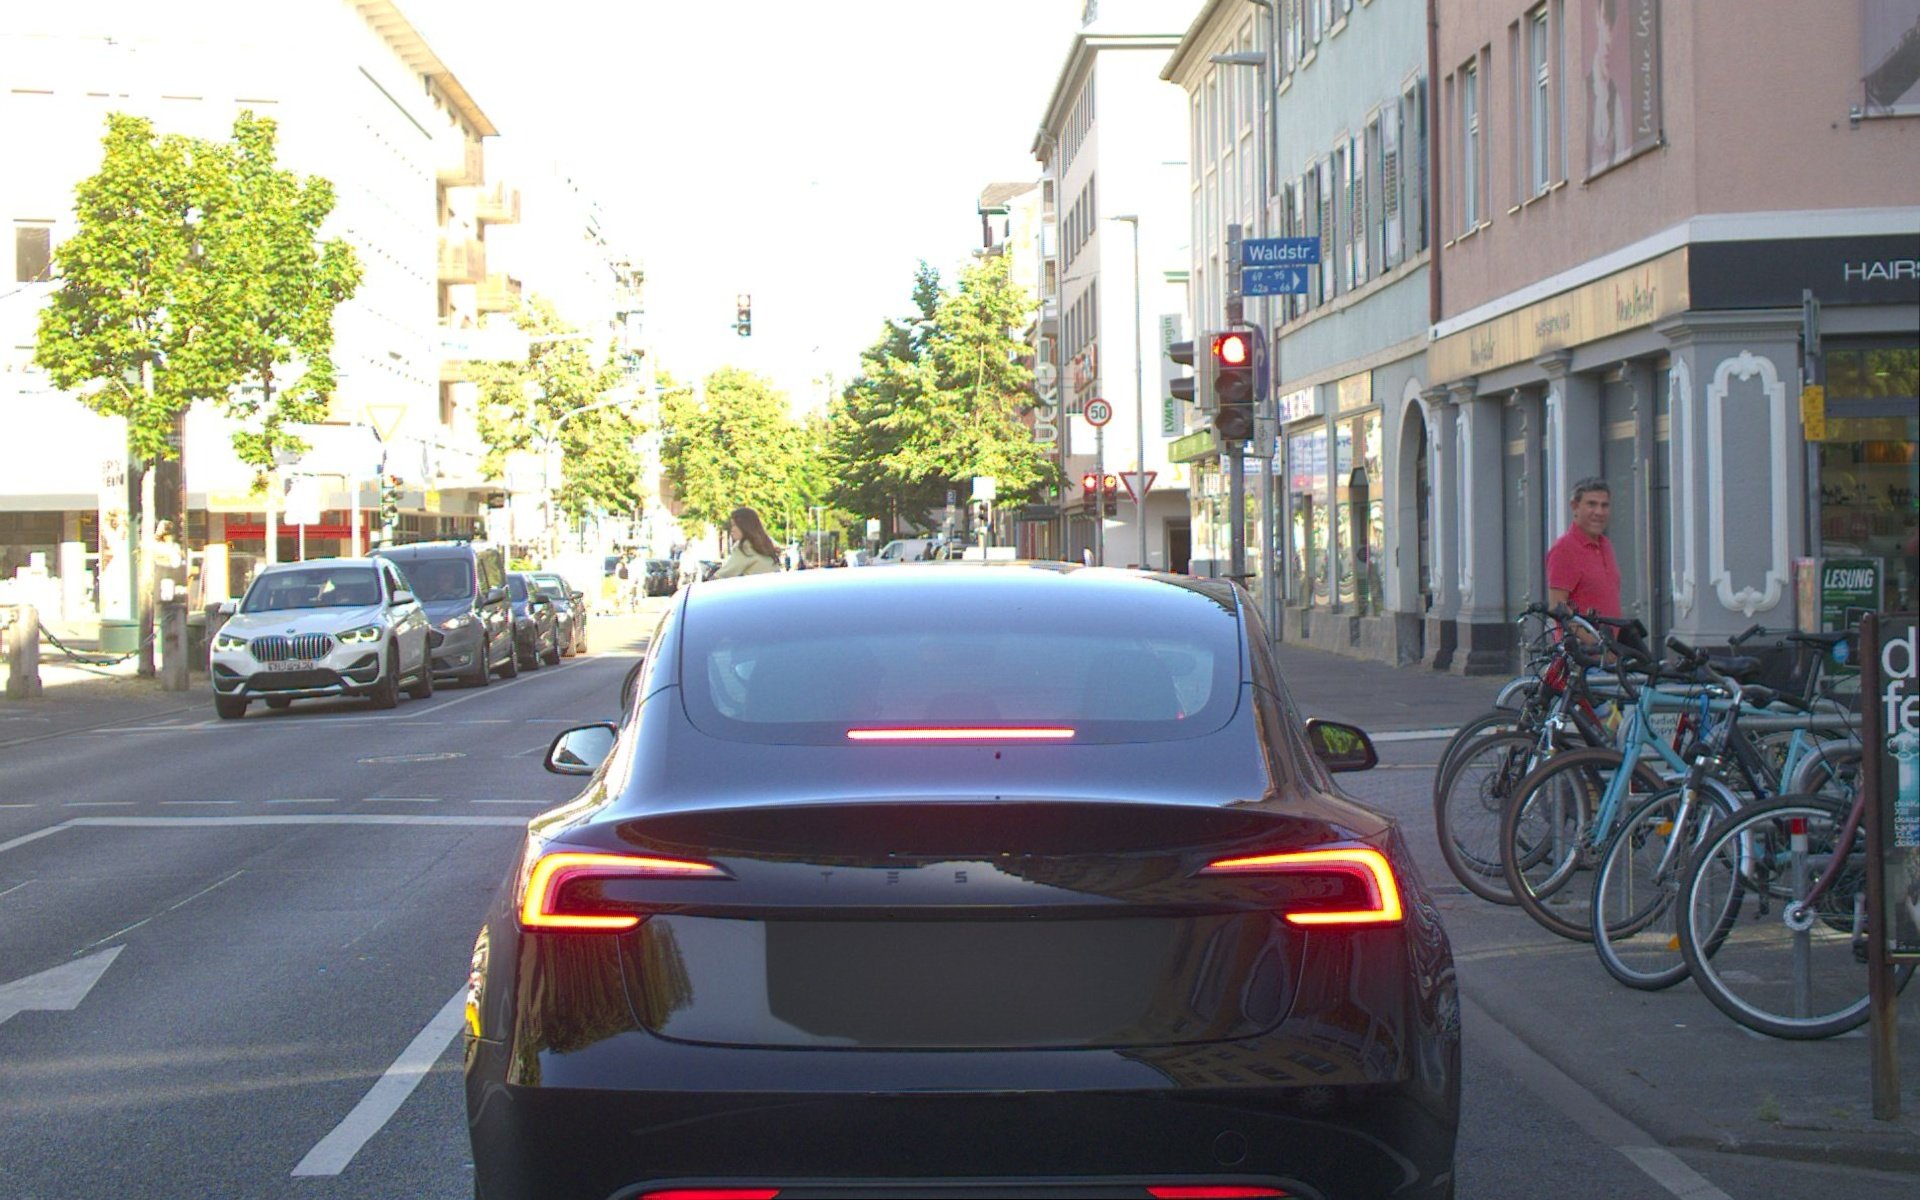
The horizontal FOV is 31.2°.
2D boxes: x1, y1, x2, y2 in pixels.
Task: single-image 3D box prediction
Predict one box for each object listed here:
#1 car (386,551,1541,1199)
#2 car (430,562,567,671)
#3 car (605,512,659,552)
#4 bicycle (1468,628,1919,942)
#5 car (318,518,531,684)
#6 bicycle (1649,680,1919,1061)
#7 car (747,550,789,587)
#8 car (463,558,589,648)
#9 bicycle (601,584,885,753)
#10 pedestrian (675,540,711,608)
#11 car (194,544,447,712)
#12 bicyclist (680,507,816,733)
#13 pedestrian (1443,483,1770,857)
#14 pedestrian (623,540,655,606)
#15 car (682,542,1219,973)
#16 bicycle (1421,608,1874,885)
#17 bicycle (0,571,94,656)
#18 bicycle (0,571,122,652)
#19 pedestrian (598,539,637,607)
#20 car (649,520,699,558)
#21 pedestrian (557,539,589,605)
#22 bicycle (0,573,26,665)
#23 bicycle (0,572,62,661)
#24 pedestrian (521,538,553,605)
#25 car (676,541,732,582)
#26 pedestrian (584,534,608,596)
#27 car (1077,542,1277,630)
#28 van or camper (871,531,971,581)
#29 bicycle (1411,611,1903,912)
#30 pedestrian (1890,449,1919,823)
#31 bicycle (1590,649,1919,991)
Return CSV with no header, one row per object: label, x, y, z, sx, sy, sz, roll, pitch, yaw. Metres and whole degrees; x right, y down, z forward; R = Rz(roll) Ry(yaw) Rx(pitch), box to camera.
car,-0.021,0.632,7.774,1.850,1.442,4.452,1,1,-1
car,-6.649,0.209,49.798,1.461,1.425,3.606,-4,1,-1
car,-17.113,-3.533,179.643,2.275,2.007,4.717,1,1,1
bicycle,2.803,0.660,12.529,1.813,1.098,0.653,0,1,1
car,-6.568,-0.031,42.664,1.945,1.940,4.820,0,1,-1
bicycle,3.029,0.763,10.051,1.882,1.040,0.653,-1,1,1
car,-10.430,-1.738,187.135,2.132,1.963,4.134,0,1,-1
car,-7.125,0.025,56.748,1.693,1.385,3.916,-2,0,-2
bicycle,-1.580,0.495,25.156,1.954,1.154,0.575,-2,0,9
pedestrian,-7.431,-0.732,95.580,0.774,1.861,1.009,1,0,-18
car,-6.683,0.259,36.341,1.825,1.559,4.301,-4,1,-1
bicyclist,-1.547,0.138,25.136,0.826,1.609,0.579,-2,1,9
pedestrian,3.104,0.312,16.523,1.059,1.714,1.113,0,1,-43
pedestrian,-9.113,-0.775,97.495,0.694,1.861,0.910,1,0,-18
car,-0.057,0.528,14.199,1.850,1.476,4.452,1,1,-1
bicycle,2.925,0.616,14.737,1.813,1.148,0.653,0,1,1
bicycle,-14.529,0.194,52.142,2.542,1.247,0.943,1,0,-3
bicycle,-14.690,0.167,54.566,2.542,1.247,0.943,1,0,-3
pedestrian,-9.407,-0.749,94.472,0.734,1.861,0.789,1,0,28
car,-15.636,-3.352,188.282,2.275,2.007,4.717,1,1,1
pedestrian,-10.934,-0.796,97.106,0.732,1.861,0.791,1,0,-17
bicycle,-14.482,0.239,47.548,2.875,1.266,0.943,1,0,-3
bicycle,-14.484,0.222,49.866,2.662,1.255,0.943,1,0,-3
pedestrian,-11.950,-0.811,97.100,0.732,1.861,0.791,1,0,-17
car,-12.383,-1.866,166.452,2.414,1.963,4.678,0,1,-1
pedestrian,-10.988,-1.070,103.880,0.695,1.861,0.659,1,0,-5
car,4.715,-0.320,74.675,3.992,1.861,1.698,0,1,-21
van or camper,-1.889,-2.130,167.549,4.850,2.430,1.851,0,1,-1
bicycle,2.734,0.624,13.602,1.813,1.148,0.653,0,1,1
pedestrian,5.044,0.166,16.751,0.681,1.843,0.893,-4,0,1
bicycle,3.003,0.696,11.122,1.813,1.056,0.653,0,1,1
